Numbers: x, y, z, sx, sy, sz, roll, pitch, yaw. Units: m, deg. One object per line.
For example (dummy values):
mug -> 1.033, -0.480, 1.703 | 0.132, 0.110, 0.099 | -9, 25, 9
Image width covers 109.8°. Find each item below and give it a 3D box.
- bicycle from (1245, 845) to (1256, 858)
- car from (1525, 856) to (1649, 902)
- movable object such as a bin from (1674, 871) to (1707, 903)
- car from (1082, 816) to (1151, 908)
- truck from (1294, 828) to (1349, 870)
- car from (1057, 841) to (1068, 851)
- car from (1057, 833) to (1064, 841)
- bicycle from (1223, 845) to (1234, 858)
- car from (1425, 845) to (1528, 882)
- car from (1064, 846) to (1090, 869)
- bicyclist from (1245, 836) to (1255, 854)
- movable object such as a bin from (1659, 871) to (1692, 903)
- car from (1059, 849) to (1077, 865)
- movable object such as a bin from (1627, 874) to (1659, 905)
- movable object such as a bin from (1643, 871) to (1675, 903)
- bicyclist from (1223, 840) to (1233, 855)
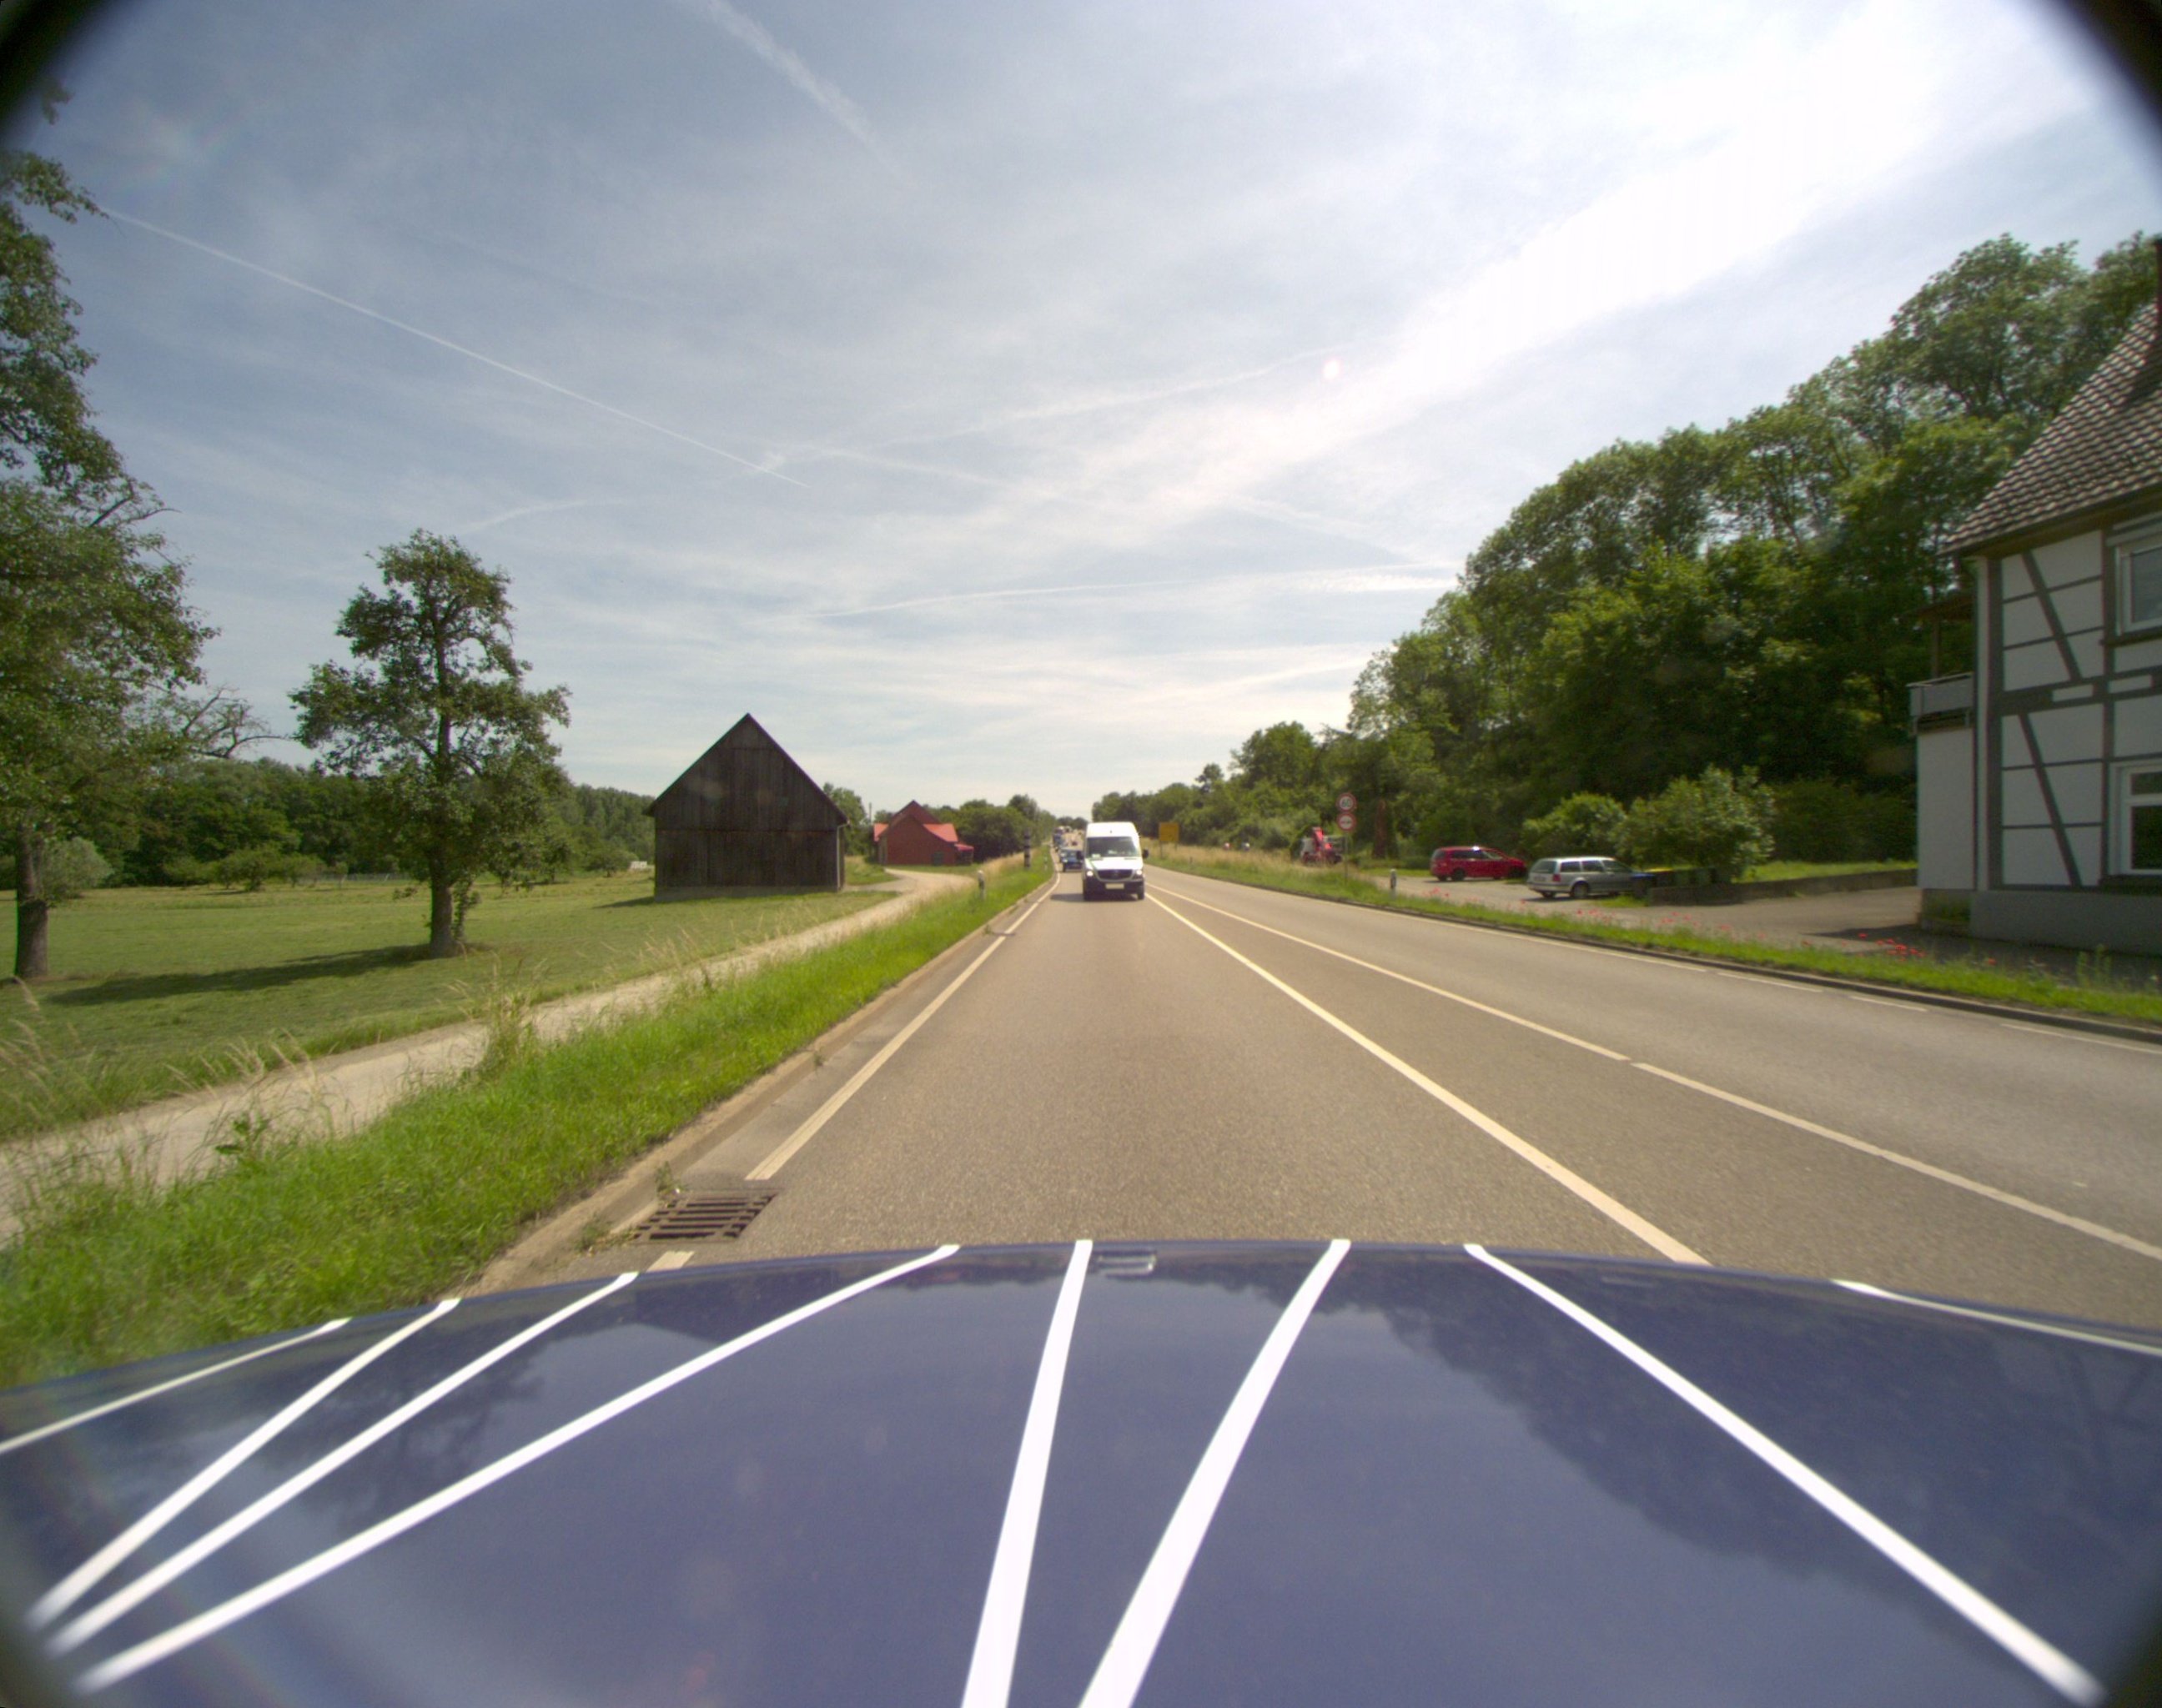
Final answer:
bicycle -> 16.613, -0.243, 74.468 | 0.750, 1.174, 2.105 | -2, 1, 3
car -> 17.830, 0.846, 26.843 | 3.387, 1.457, 1.609 | -2, 1, -6
movable object such as a bin -> 19.599, 1.069, 24.426 | 0.505, 0.971, 0.654 | -2, 2, -7
car -> 1.078, 0.217, 25.394 | 1.960, 2.655, 5.680 | -2, 1, 0
truck -> 18.111, -0.438, 57.629 | 2.031, 2.947, 6.772 | -2, 1, 1
car -> -3.185, -1.451, 131.484 | 1.848, 1.692, 4.240 | -1, 2, -2
car -> -6.078, -5.087, 224.410 | 1.998, 2.166, 4.000 | -2, 1, 1
bicycle -> 15.201, -0.257, 78.477 | 0.750, 1.205, 2.104 | -2, 1, 1
car -> 19.099, 0.442, 36.826 | 4.037, 1.609, 1.833 | -2, 1, 1
car -> -0.303, 0.274, 57.272 | 1.848, 1.692, 4.243 | 0, -1, -1
bicyclist -> 16.593, -0.892, 74.543 | 0.750, 1.705, 0.936 | -2, 1, 3
movable object such as a bin -> 19.042, 1.065, 24.341 | 0.505, 0.965, 0.654 | -2, 2, -7
car -> -1.497, 0.304, 86.699 | 1.849, 1.692, 4.240 | -1, 2, -3
movable object such as a bin -> 17.948, 1.135, 24.255 | 0.505, 0.931, 0.654 | -2, 2, -7
movable object such as a bin -> 18.466, 1.055, 24.280 | 0.505, 0.964, 0.654 | -2, 2, -7
bicyclist -> 15.192, -0.672, 78.483 | 0.750, 1.586, 0.936 | -2, 1, 1
